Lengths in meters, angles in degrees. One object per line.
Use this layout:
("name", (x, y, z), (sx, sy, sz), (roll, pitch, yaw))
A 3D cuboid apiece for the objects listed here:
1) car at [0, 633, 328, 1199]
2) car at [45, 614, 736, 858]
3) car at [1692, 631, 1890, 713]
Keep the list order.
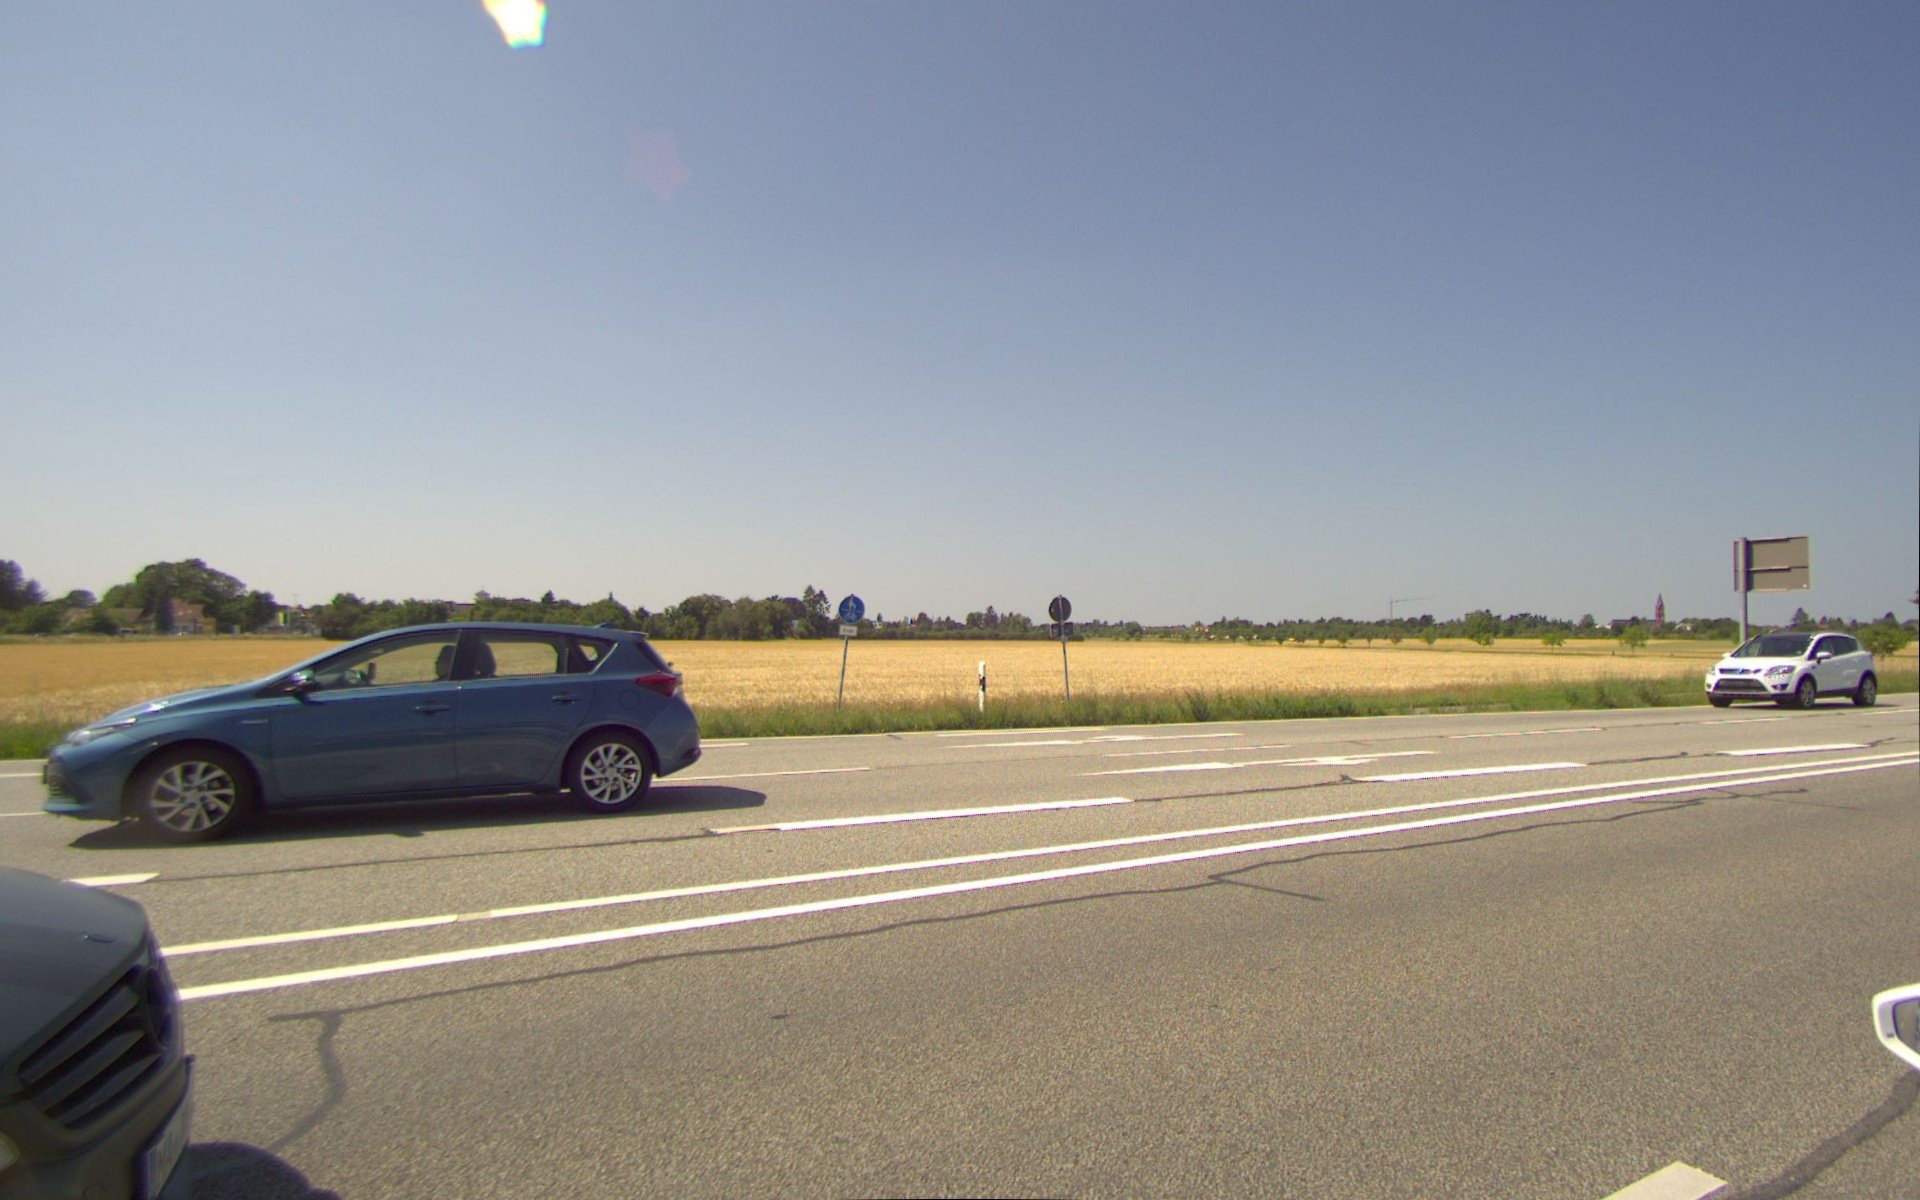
("car", (-3.550, 0.782, 1.013), (4.819, 1.469, 1.802), (1, -1, -30))
("car", (-4.017, 0.922, 7.810), (4.174, 1.476, 1.755), (1, -4, -25))
("car", (18.931, 1.594, 22.856), (4.401, 1.698, 1.661), (0, -3, -24))
